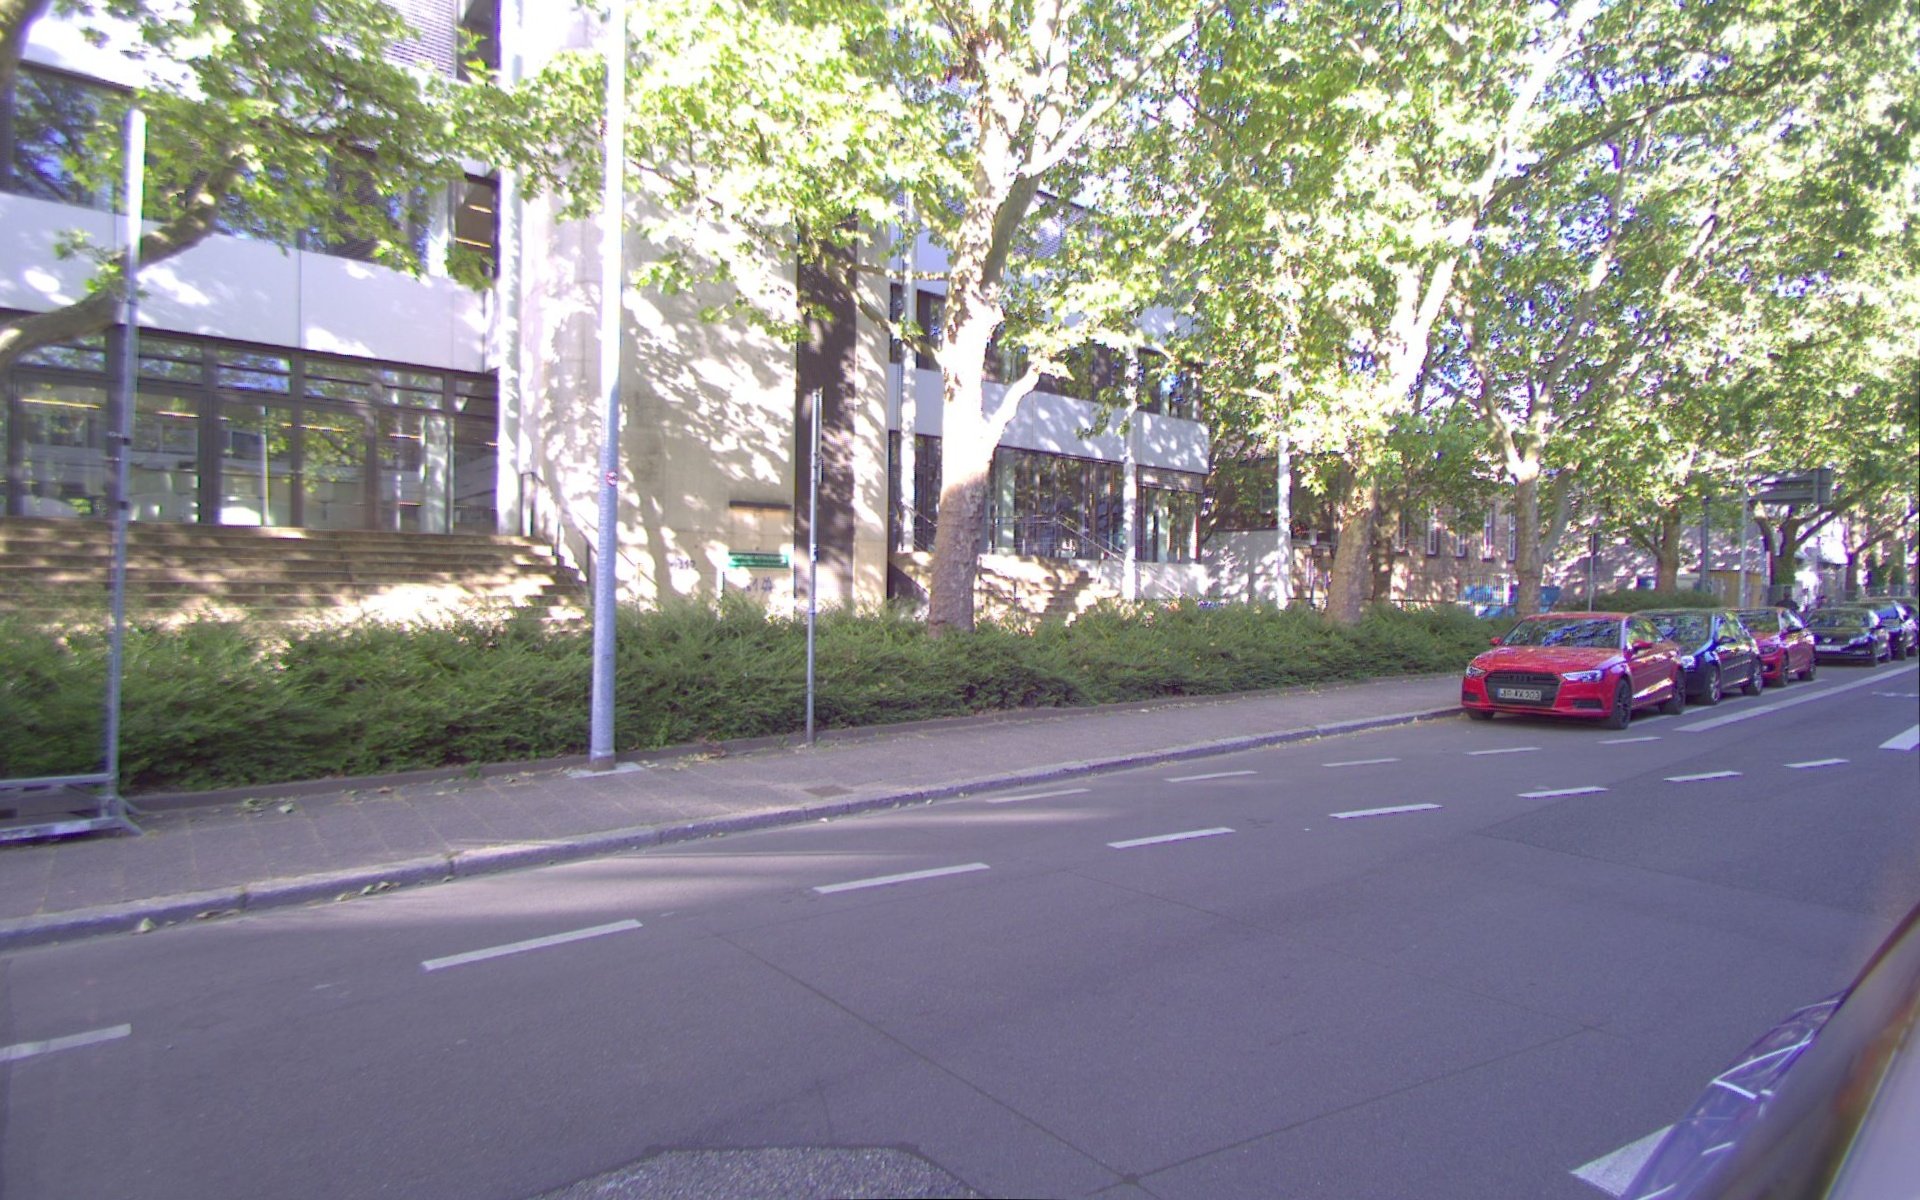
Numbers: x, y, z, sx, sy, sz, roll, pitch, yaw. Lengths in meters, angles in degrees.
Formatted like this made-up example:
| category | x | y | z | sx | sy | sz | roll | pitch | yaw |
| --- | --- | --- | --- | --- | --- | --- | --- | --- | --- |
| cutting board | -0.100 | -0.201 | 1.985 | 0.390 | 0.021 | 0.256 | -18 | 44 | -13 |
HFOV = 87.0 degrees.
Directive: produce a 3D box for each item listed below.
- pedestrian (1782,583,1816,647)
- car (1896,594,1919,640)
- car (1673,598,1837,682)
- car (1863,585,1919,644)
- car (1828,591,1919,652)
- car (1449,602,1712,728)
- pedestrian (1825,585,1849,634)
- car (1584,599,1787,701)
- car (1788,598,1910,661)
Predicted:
| category | x | y | z | sx | sy | sz | roll | pitch | yaw |
| --- | --- | --- | --- | --- | --- | --- | --- | --- | --- |
| pedestrian | 24.981 | 0.433 | 30.136 | 0.629 | 1.884 | 0.660 | 0 | 0 | -41 |
| car | 35.912 | 0.585 | 37.103 | 4.183 | 1.634 | 1.834 | 0 | 0 | -40 |
| car | 15.842 | 0.712 | 20.102 | 4.095 | 1.486 | 1.834 | 0 | 0 | -41 |
| car | 31.049 | 0.443 | 32.978 | 4.383 | 1.820 | 1.834 | 0 | 0 | -40 |
| car | 26.563 | 0.576 | 29.088 | 4.088 | 1.626 | 1.834 | 0 | 0 | -40 |
| car | 8.408 | 0.739 | 13.570 | 4.173 | 1.422 | 1.834 | 0 | 0 | -41 |
| pedestrian | 33.012 | 0.341 | 38.103 | 0.583 | 1.818 | 0.600 | 0 | 0 | -41 |
| car | 12.027 | 0.721 | 16.687 | 4.095 | 1.464 | 1.834 | 0 | 0 | -41 |
| car | 22.874 | 0.706 | 25.994 | 4.095 | 1.486 | 1.834 | 0 | 0 | -41 |
